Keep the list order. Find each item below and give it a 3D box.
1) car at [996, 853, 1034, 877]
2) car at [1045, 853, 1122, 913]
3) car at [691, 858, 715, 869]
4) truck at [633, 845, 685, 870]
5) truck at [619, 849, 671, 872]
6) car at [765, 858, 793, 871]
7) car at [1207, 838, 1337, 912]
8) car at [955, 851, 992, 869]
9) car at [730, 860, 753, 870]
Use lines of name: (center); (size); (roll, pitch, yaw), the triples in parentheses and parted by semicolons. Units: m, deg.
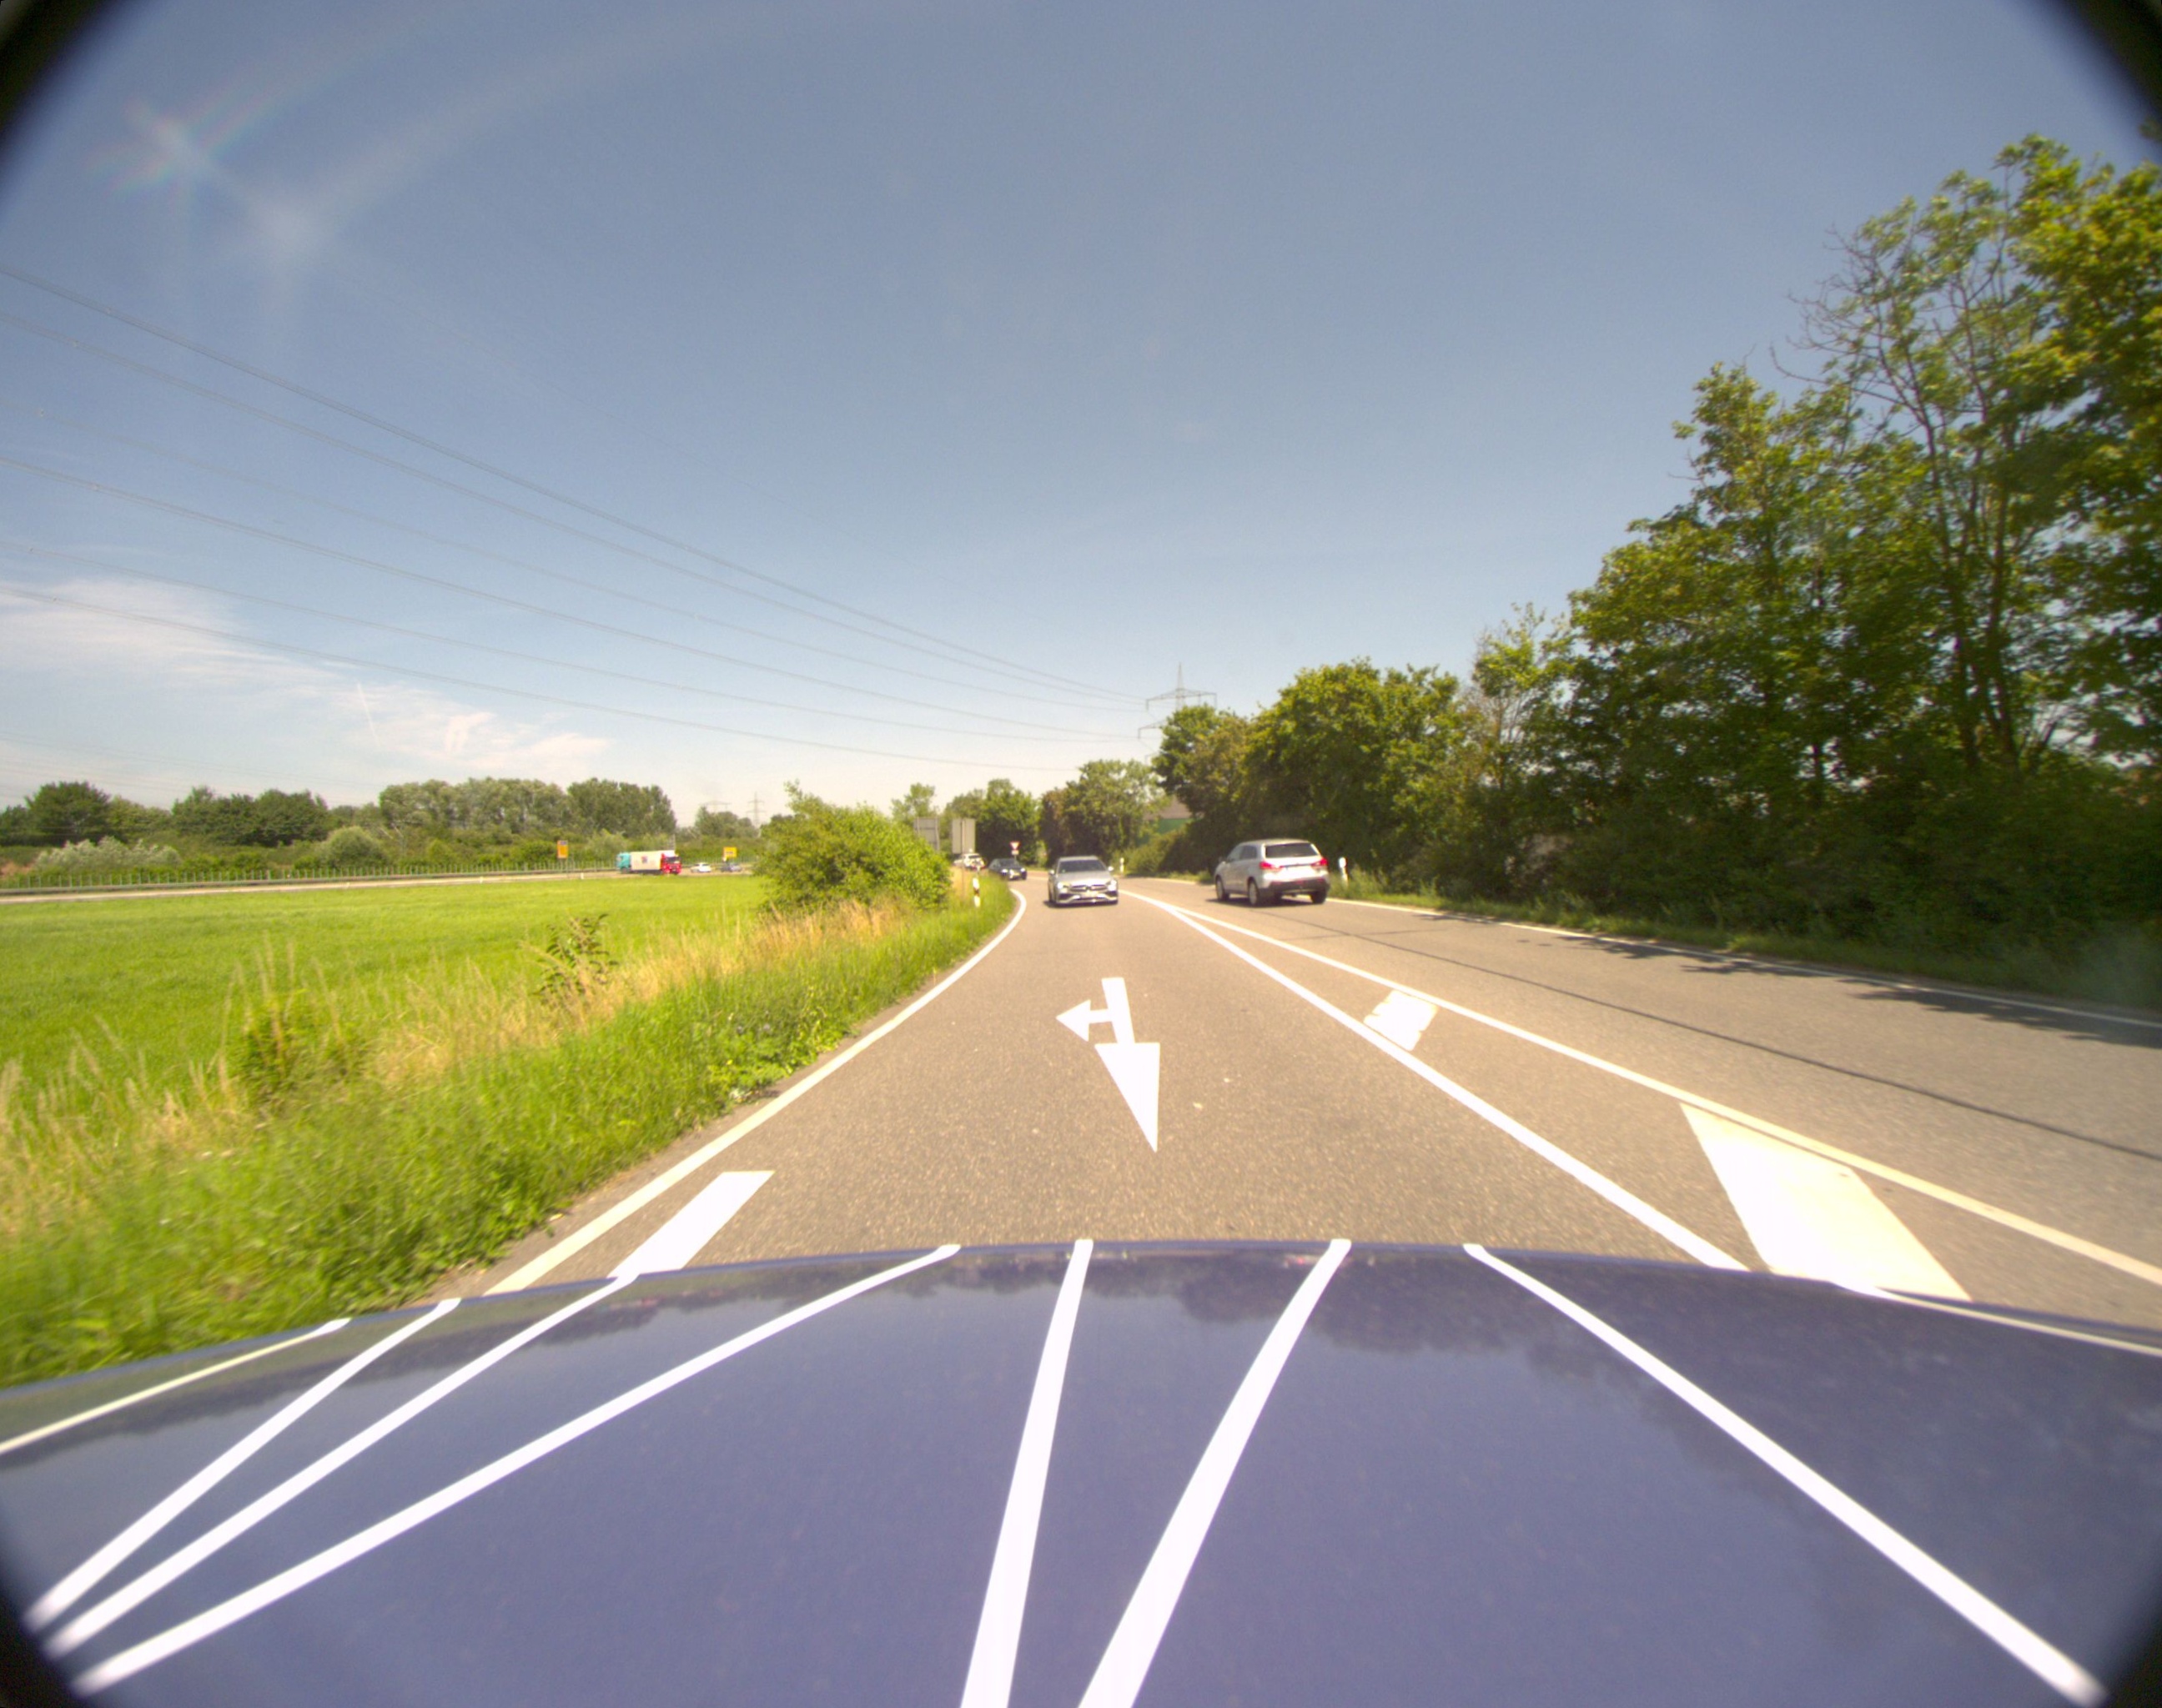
car: (-4.310, 0.658, 49.288); (1.826, 1.431, 4.143); (-2, 1, -13)
car: (-0.022, 0.790, 23.034); (1.825, 1.478, 4.146); (-5, 1, -6)
car: (-61.692, 1.576, 123.992); (4.318, 1.612, 1.781); (-2, 3, 38)
truck: (-62.578, 0.530, 112.635); (9.528, 3.560, 2.730); (0, 3, 36)
truck: (-71.631, 1.029, 124.880); (7.596, 3.451, 2.613); (-2, 1, 14)
car: (-44.625, 1.561, 112.155); (4.426, 1.822, 1.936); (-1, 2, 41)
car: (4.724, 0.470, 19.385); (1.747, 1.580, 3.997); (-3, 1, -9)
car: (-10.366, 0.625, 73.241); (1.863, 1.592, 4.767); (-4, 1, -29)
car: (-53.166, 1.697, 119.039); (3.997, 1.451, 1.640); (-2, 1, 38)
